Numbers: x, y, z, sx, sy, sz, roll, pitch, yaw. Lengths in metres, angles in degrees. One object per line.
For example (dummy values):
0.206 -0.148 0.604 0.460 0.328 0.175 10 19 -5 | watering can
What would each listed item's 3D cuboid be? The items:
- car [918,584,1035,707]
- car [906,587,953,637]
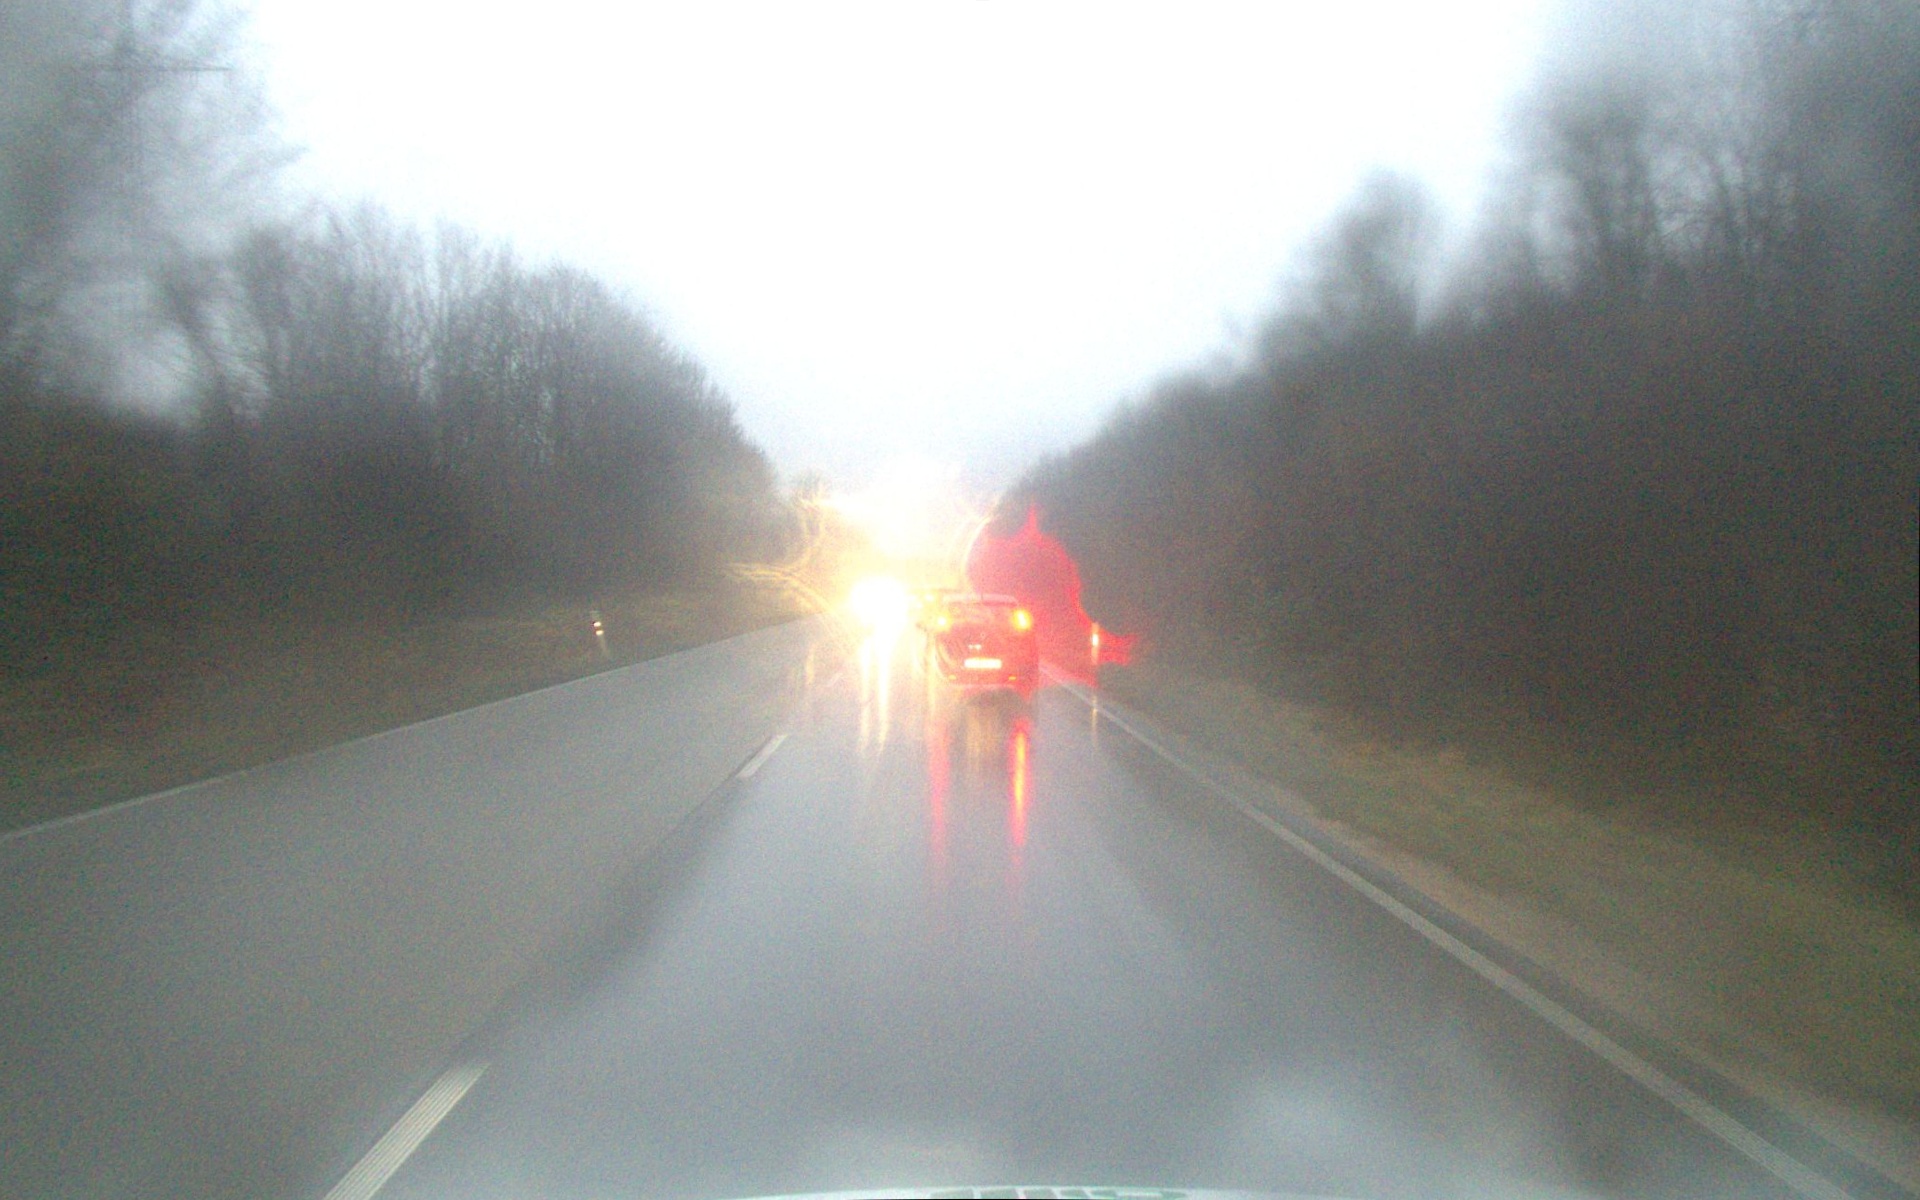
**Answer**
0.242 0.627 24.765 1.614 1.701 3.514 1 0 0 | car
-1.155 0.427 61.738 1.698 1.810 3.999 1 0 -2 | car
